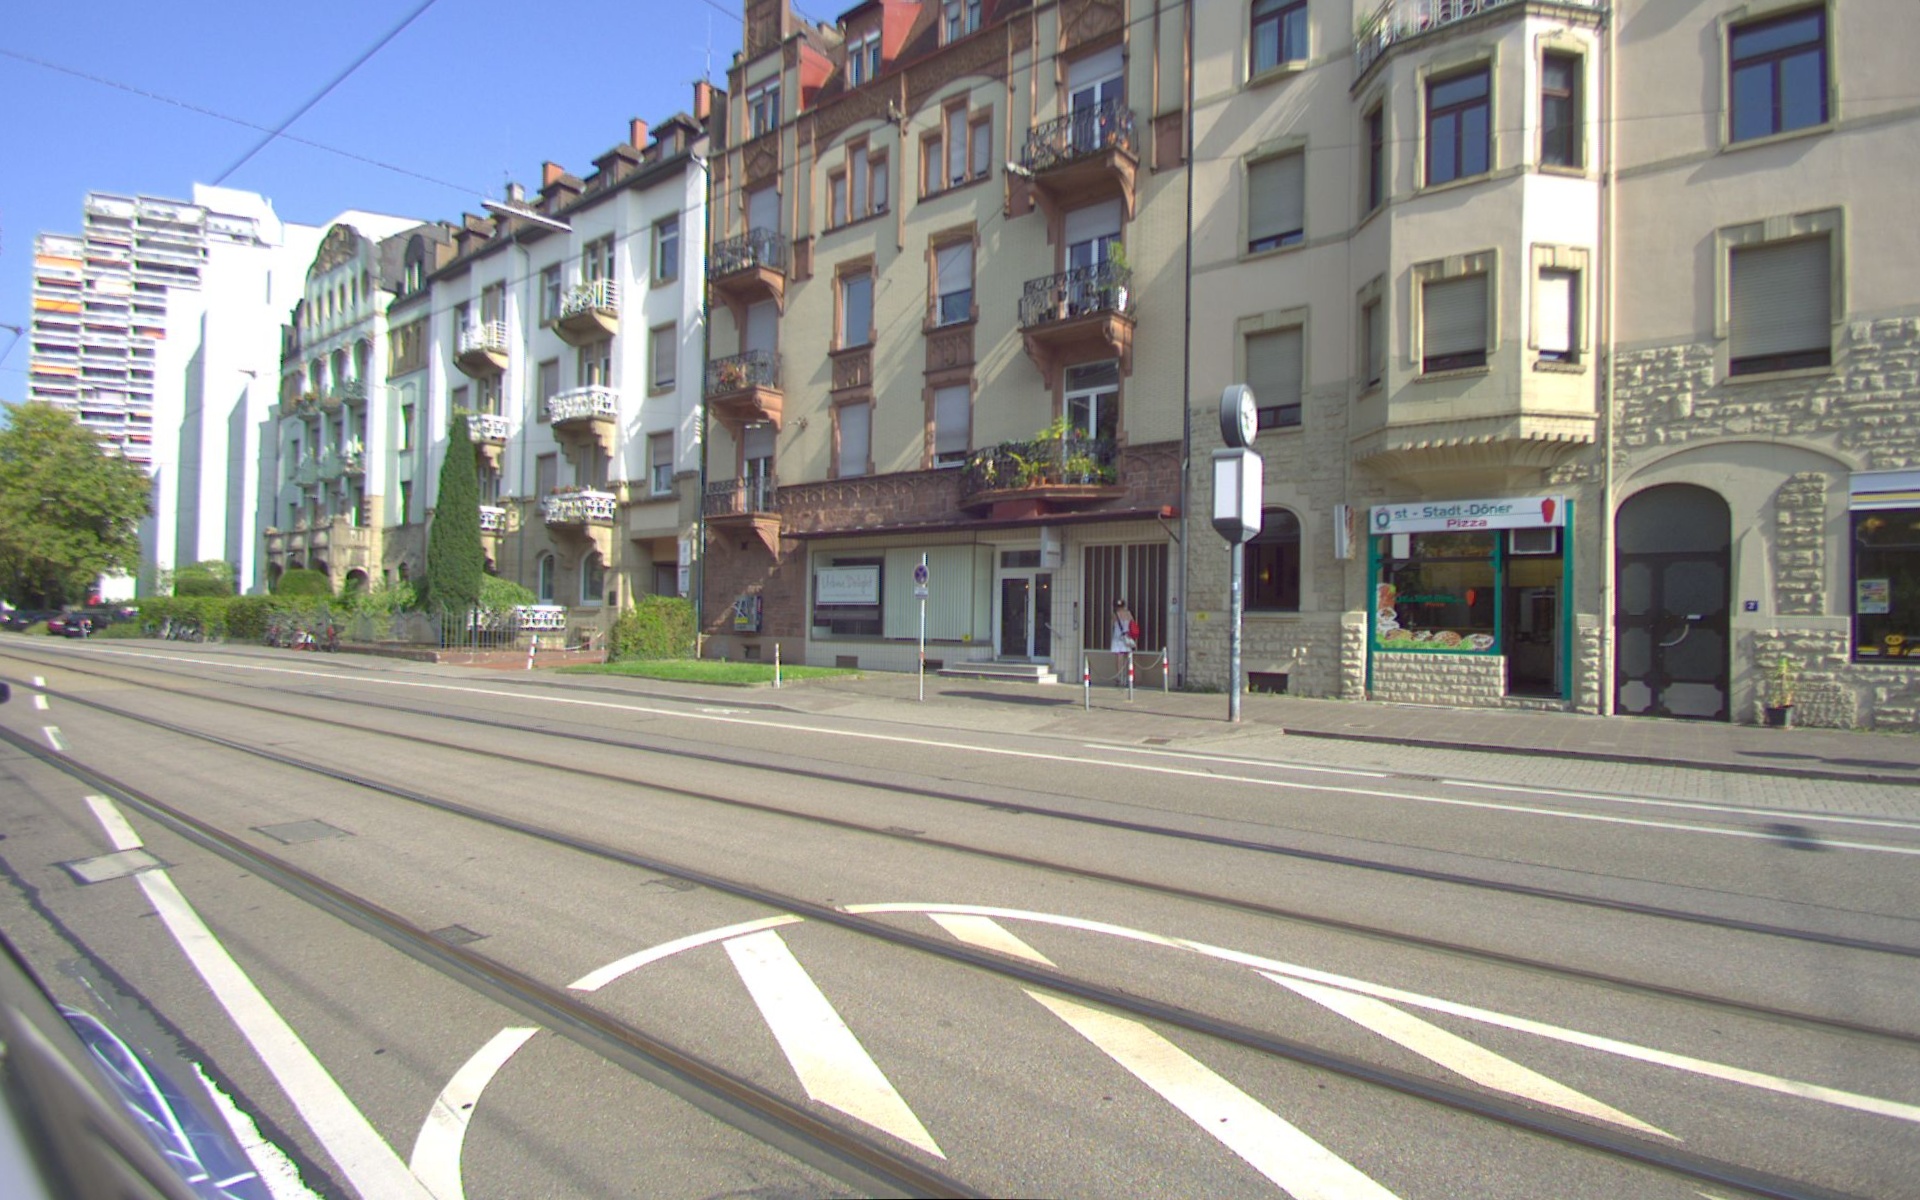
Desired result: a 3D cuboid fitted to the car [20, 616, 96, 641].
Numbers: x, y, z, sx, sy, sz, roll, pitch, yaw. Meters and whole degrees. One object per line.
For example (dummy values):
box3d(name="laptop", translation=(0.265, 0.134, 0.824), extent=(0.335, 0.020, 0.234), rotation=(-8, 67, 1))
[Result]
box3d(name="car", translation=(-57.726, 1.825, 64.863), extent=(1.744, 1.539, 4.008), rotation=(1, -2, -9))

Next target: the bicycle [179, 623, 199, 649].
box3d(name="bicycle", translation=(-34.057, 1.589, 44.687), extent=(1.677, 1.096, 0.419), rotation=(-1, -3, 44))

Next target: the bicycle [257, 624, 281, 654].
box3d(name="bicycle", translation=(-26.241, 1.469, 38.440), extent=(1.354, 1.096, 0.366), rotation=(-1, -3, 39))

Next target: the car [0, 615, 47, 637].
box3d(name="car", translation=(-67.194, 1.846, 71.760), extent=(1.744, 1.539, 4.008), rotation=(1, -2, -9))

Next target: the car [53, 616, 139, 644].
box3d(name="car", translation=(-49.736, 1.725, 58.364), extent=(1.745, 1.539, 4.004), rotation=(1, -2, -5))

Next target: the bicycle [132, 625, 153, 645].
box3d(name="bicycle", translation=(-40.373, 1.730, 49.982), extent=(1.768, 0.985, 0.420), rotation=(-1, -3, 39))

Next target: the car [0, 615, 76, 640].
box3d(name="car", translation=(-60.267, 1.806, 66.261), extent=(1.744, 1.539, 4.008), rotation=(1, -2, -9))

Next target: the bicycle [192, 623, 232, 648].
box3d(name="bicycle", translation=(-32.899, 1.568, 44.516), extent=(0.423, 1.096, 1.386), rotation=(0, -2, 22))

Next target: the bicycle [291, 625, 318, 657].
box3d(name="bicycle", translation=(-22.911, 1.416, 35.364), extent=(1.354, 1.096, 0.366), rotation=(-1, -3, 39))

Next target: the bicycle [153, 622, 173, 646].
box3d(name="bicycle", translation=(-37.745, 1.608, 47.937), extent=(1.676, 1.096, 0.420), rotation=(-1, -3, 42))

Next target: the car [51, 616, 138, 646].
box3d(name="car", translation=(-47.272, 1.707, 55.399), extent=(1.744, 1.539, 4.008), rotation=(1, -2, -9))

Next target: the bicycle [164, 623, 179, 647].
box3d(name="bicycle", translation=(-36.283, 1.589, 46.553), extent=(0.419, 1.096, 1.679), rotation=(3, -3, -41))

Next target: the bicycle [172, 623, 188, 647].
box3d(name="bicycle", translation=(-35.568, 1.598, 46.148), extent=(0.419, 1.096, 1.679), rotation=(3, -3, -41))

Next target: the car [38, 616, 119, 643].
box3d(name="car", translation=(-52.130, 1.743, 59.924), extent=(1.744, 1.539, 4.008), rotation=(1, -2, -9))

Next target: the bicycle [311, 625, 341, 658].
box3d(name="bicycle", translation=(-21.497, 1.410, 34.292), extent=(1.486, 1.096, 0.366), rotation=(-1, -3, 39))

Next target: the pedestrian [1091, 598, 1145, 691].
box3d(name="pedestrian", translation=(3.288, 0.917, 21.079), extent=(0.829, 1.874, 0.766), rotation=(-1, -2, 38))

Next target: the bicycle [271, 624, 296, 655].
box3d(name="bicycle", translation=(-24.917, 1.442, 37.265), extent=(1.354, 1.096, 0.366), rotation=(-1, -3, 39))
